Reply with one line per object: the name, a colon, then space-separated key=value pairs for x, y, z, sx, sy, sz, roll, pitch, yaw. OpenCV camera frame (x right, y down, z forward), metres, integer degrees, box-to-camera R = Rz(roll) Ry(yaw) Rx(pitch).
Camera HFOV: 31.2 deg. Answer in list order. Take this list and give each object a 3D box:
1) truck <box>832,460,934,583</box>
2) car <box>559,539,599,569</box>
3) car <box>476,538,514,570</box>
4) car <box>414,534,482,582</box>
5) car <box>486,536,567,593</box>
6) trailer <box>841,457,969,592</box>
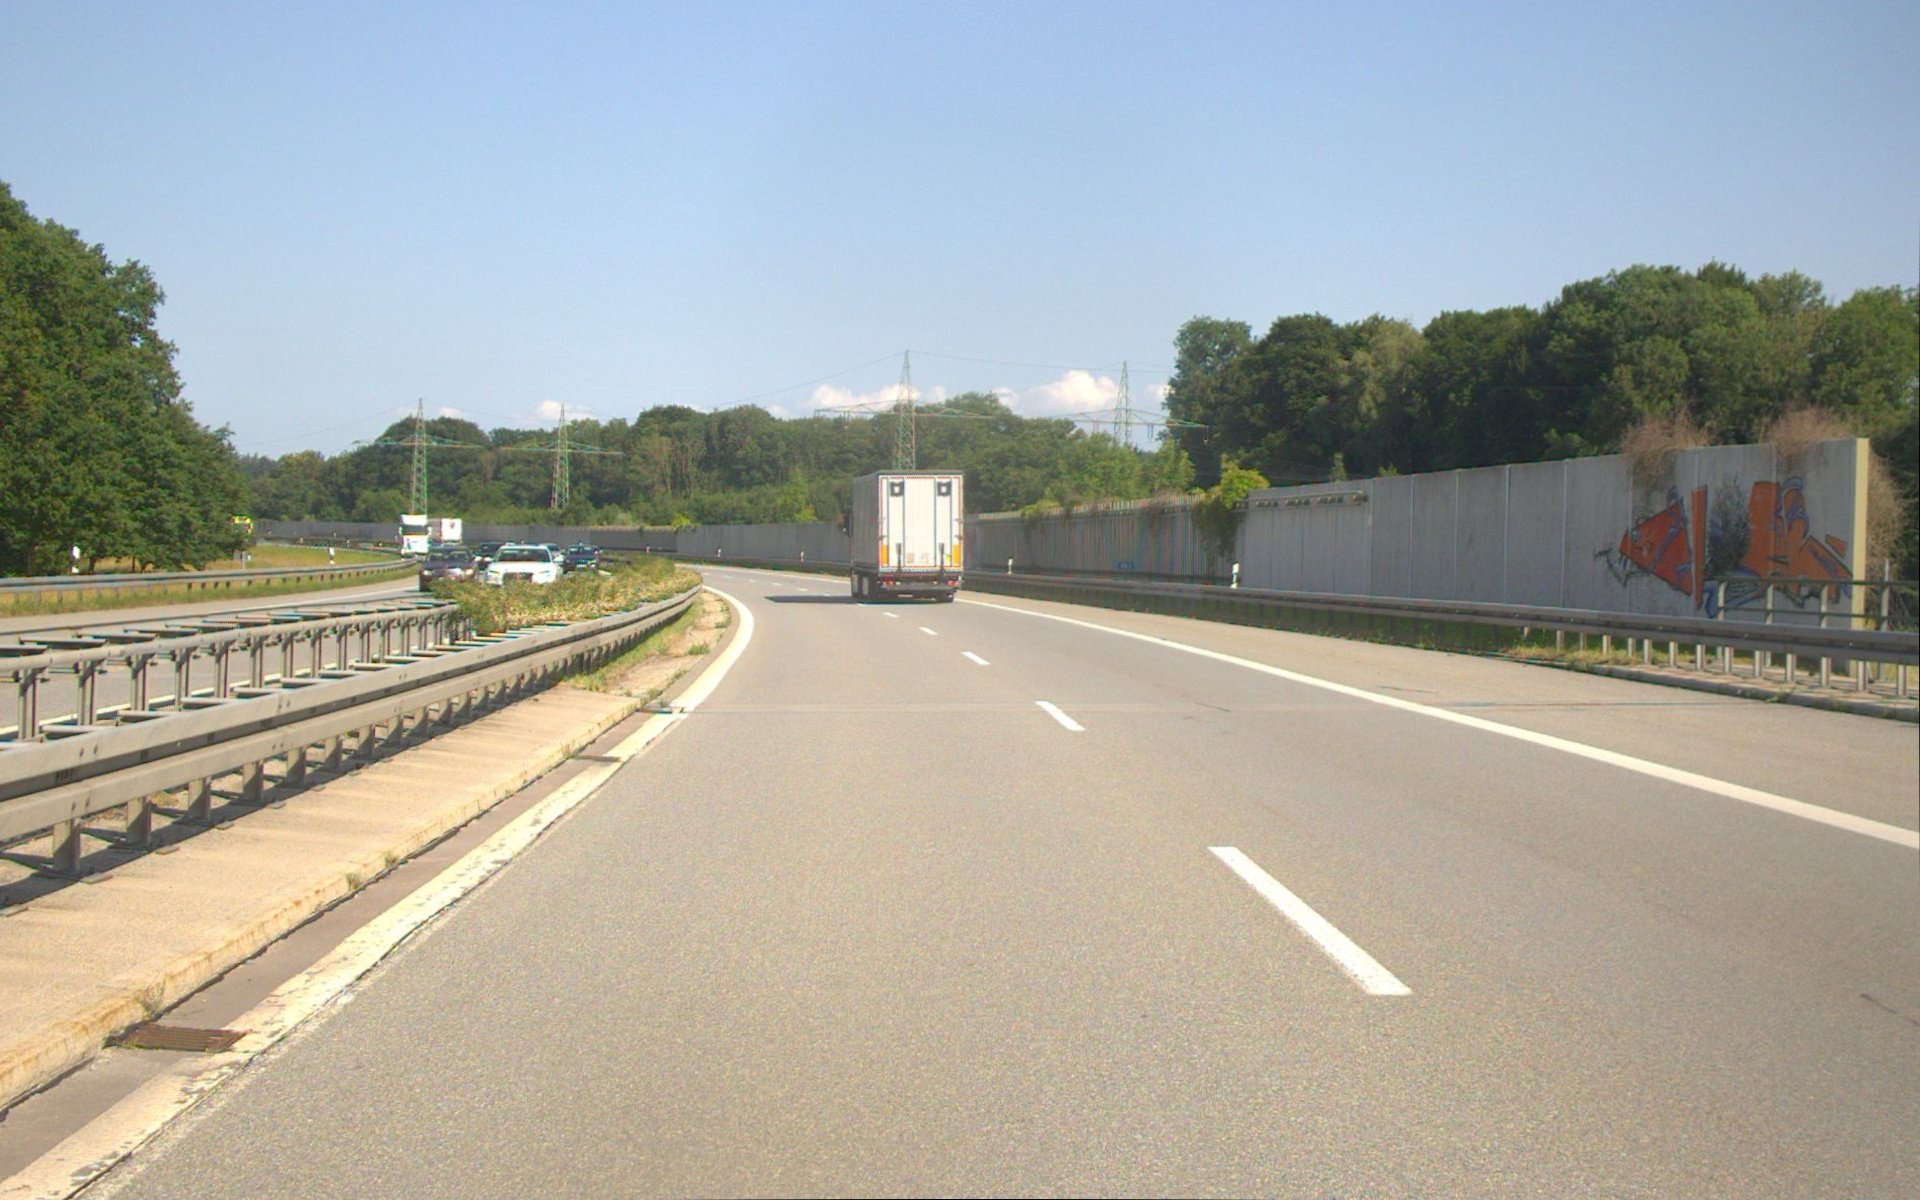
truck: x=-2.633 y=-2.612 z=115.585 sx=2.830 sy=3.998 sz=6.588 roll=0 pitch=1 yaw=-7
car: x=-19.348 y=-2.339 z=174.817 sx=1.853 sy=1.477 sz=4.001 roll=0 pitch=1 yaw=-4
car: x=-23.950 y=-2.383 z=177.206 sx=1.853 sy=1.628 sz=4.494 roll=0 pitch=1 yaw=-7
car: x=-16.335 y=-1.354 z=109.793 sx=1.773 sy=1.465 sz=4.507 roll=1 pitch=1 yaw=-4
car: x=-11.382 y=-0.959 z=90.526 sx=1.821 sy=1.429 sz=4.651 roll=1 pitch=1 yaw=-4
trailer: x=-1.866 y=-2.357 z=109.145 sx=2.883 sy=4.052 sz=12.423 roll=0 pitch=1 yaw=-6
